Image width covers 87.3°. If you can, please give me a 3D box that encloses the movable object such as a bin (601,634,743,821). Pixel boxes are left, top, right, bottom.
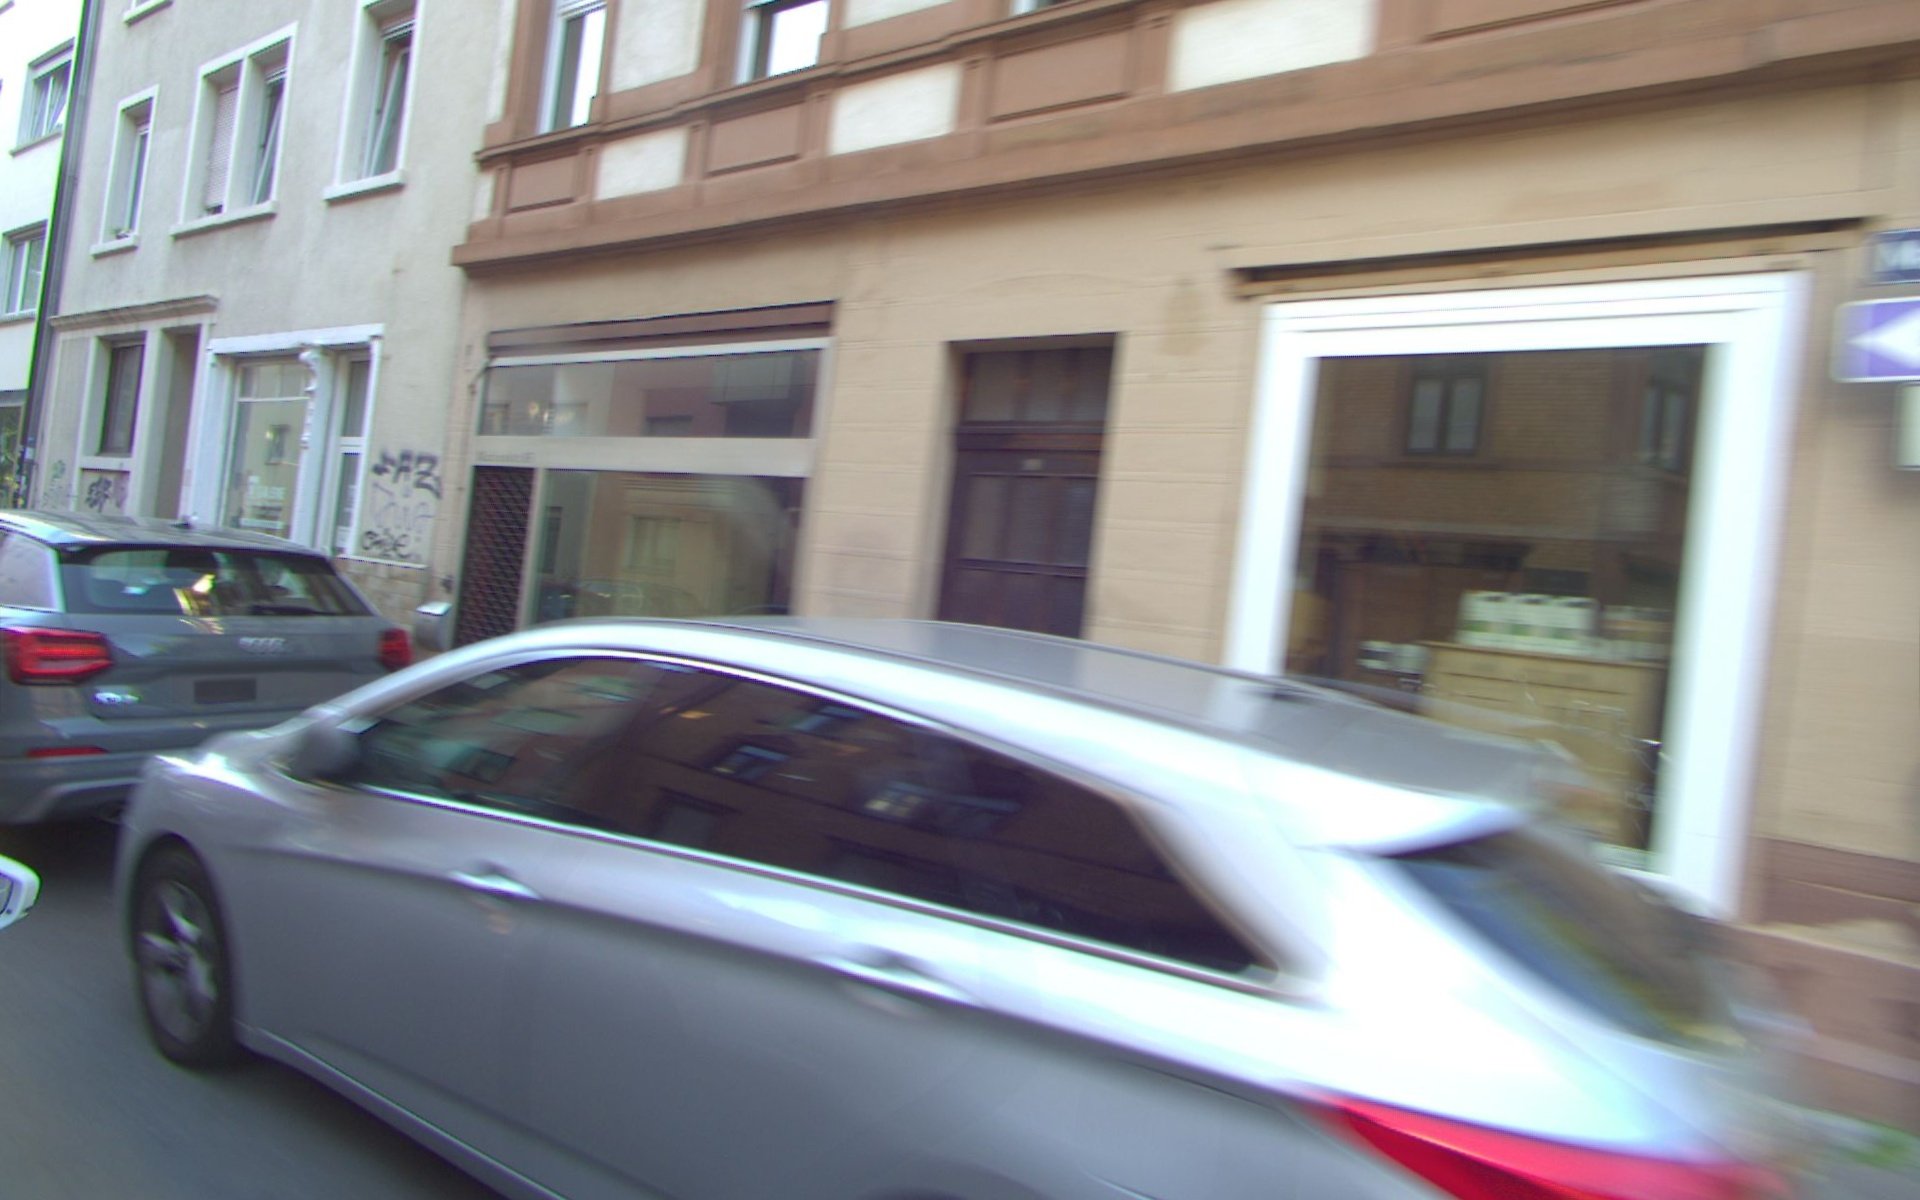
[{"bbox_3d":[-1.809,0.775,6.323,0.584,1.053,0.514,6,1,33],"label":"movable object such as a bin"}]

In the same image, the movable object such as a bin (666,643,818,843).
[{"bbox_3d":[-1.288,0.817,5.973,0.609,1.053,0.514,6,1,33],"label":"movable object such as a bin"}]

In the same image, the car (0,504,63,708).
[{"bbox_3d":[-9.224,-0.163,8.257,4.115,1.526,1.599,6,1,31],"label":"car"}]

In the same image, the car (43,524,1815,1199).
[{"bbox_3d":[-0.595,0.767,2.918,4.283,1.526,1.746,6,1,29],"label":"car"}]

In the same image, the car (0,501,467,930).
[{"bbox_3d":[-4.694,0.298,5.353,3.953,1.526,1.746,6,1,30],"label":"car"}]
